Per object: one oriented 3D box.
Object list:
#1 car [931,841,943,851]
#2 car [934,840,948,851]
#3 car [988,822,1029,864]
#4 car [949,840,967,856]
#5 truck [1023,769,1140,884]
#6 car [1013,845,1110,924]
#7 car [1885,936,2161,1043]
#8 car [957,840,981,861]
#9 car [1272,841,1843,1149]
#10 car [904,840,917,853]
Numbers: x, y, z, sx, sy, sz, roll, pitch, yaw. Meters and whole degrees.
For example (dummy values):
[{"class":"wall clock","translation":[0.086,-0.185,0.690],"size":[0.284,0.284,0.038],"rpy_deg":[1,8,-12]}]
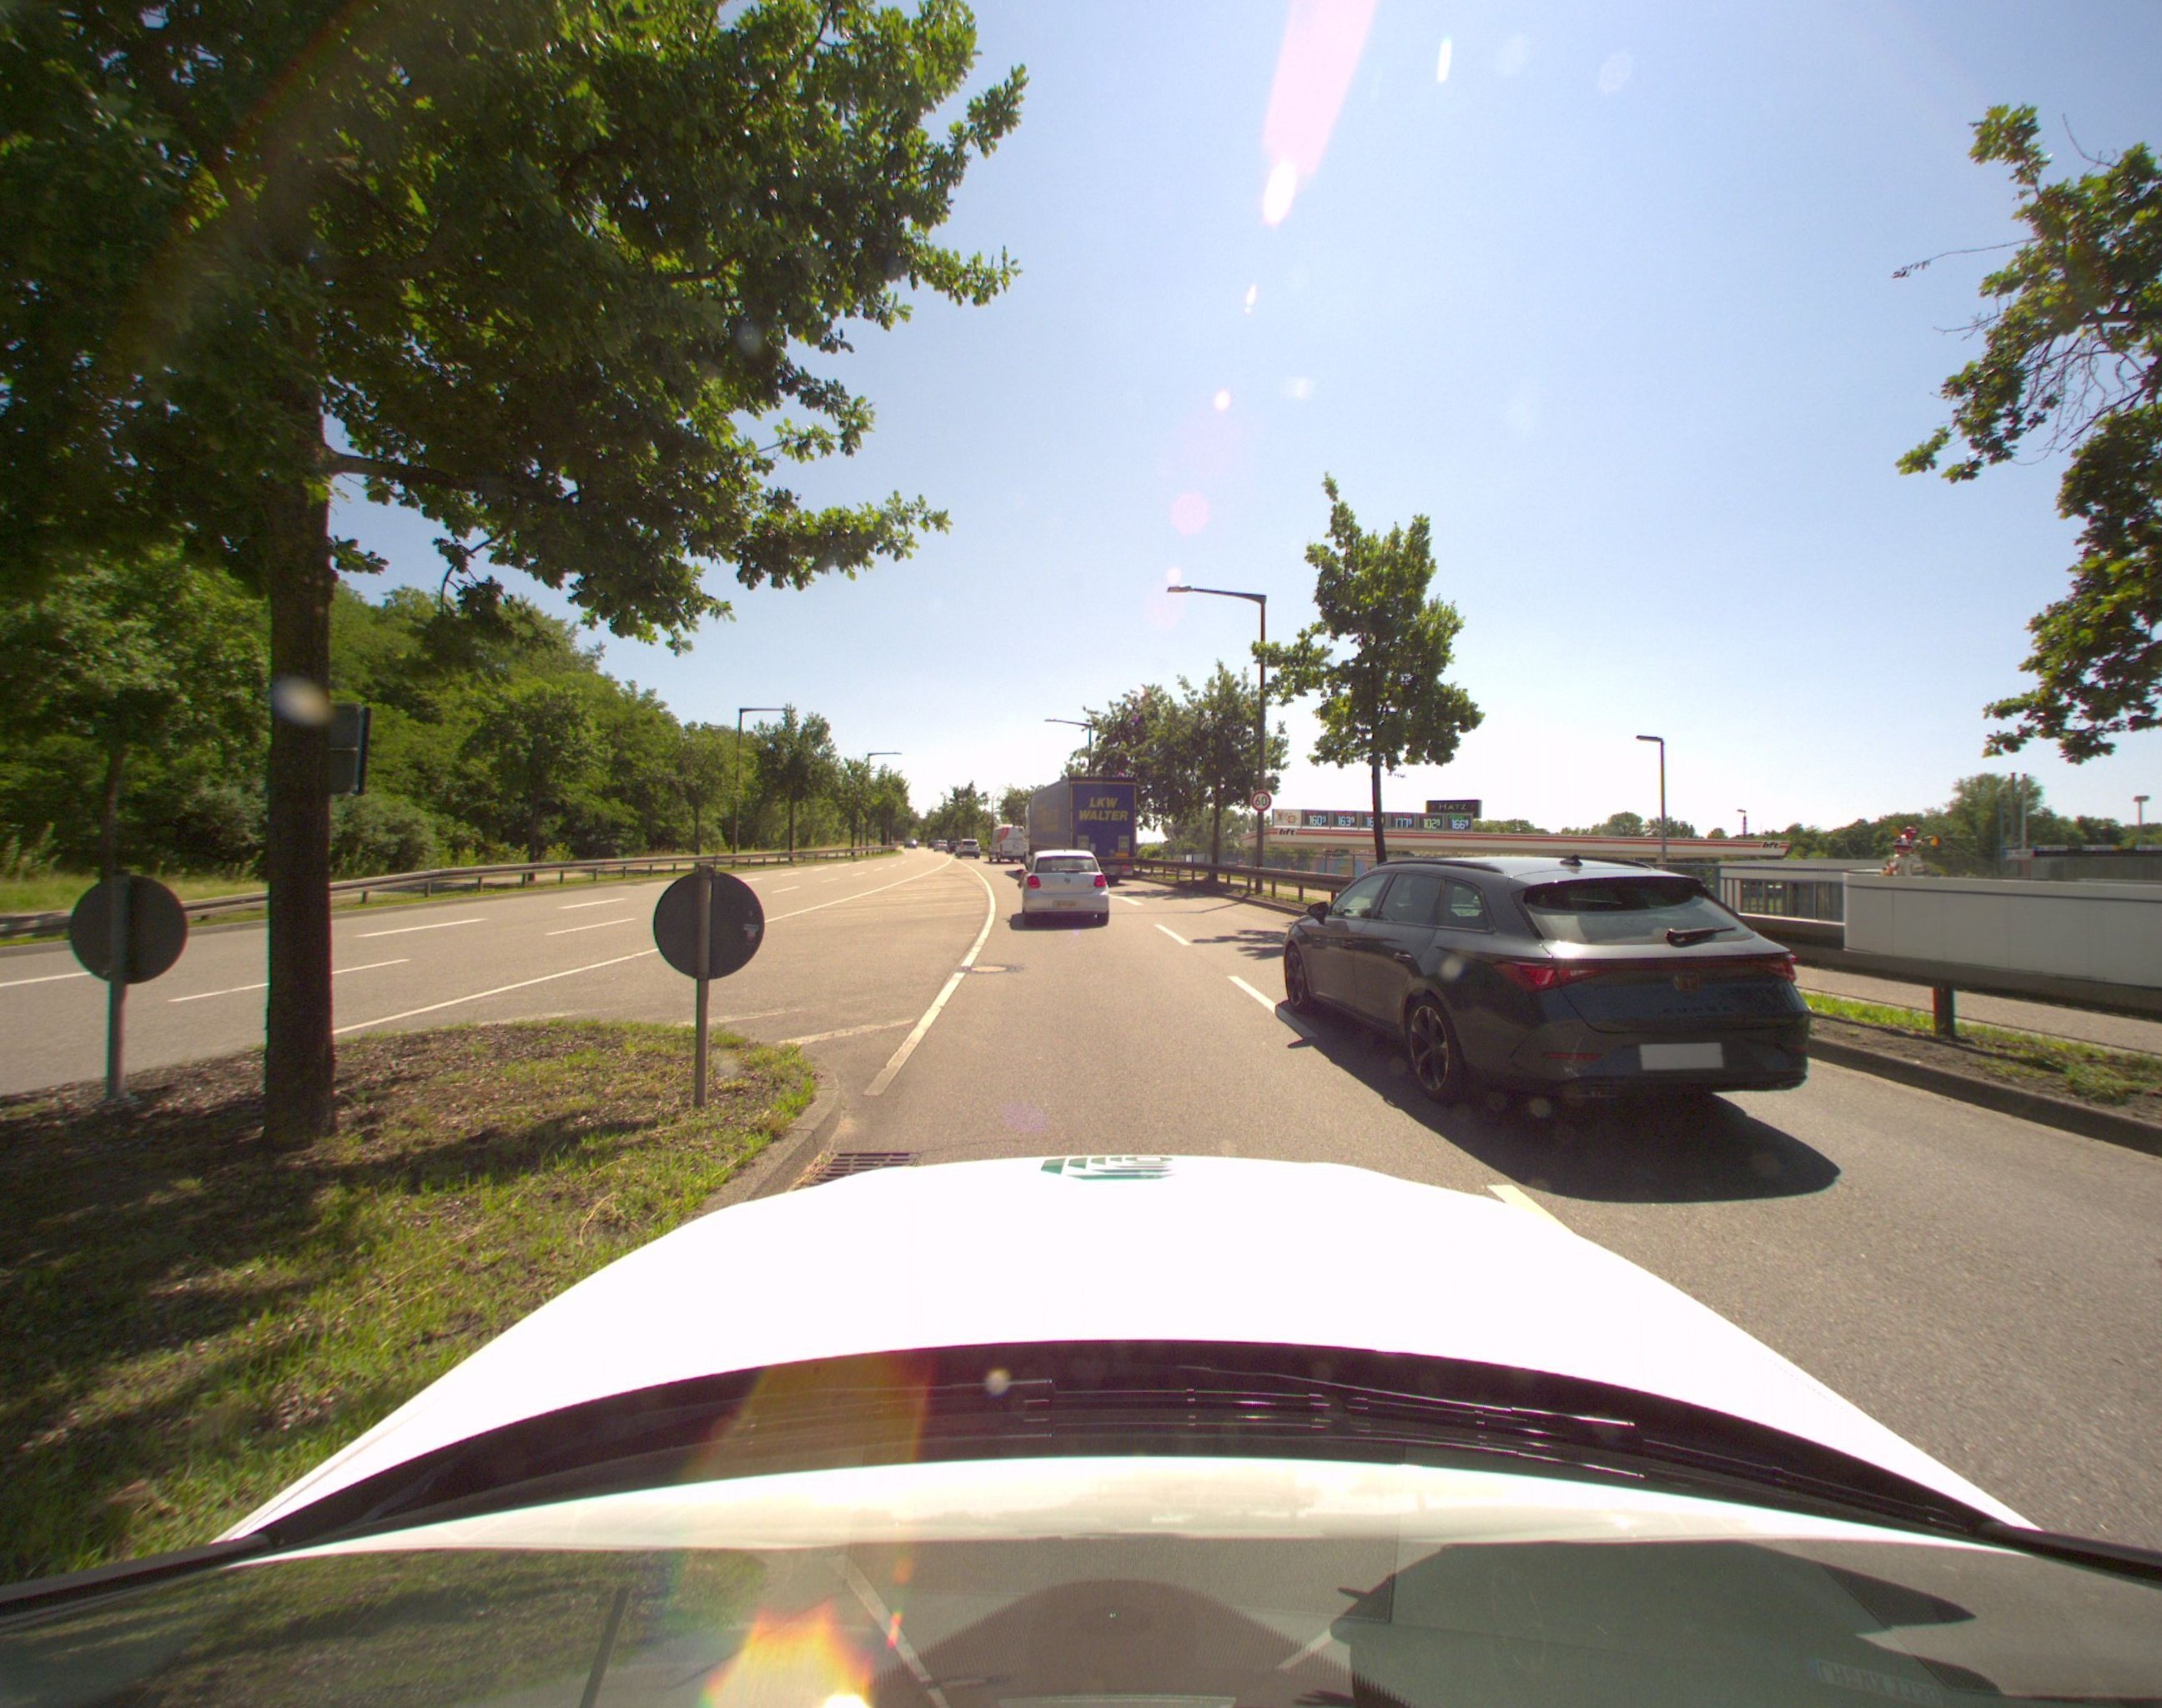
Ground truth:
[{"class":"car","translation":[-22.894,-1.194,129.240],"size":[1.663,1.465,3.571],"rpy_deg":[1,-1,-7]},{"class":"car","translation":[-18.088,-1.098,105.263],"size":[1.609,1.360,3.648],"rpy_deg":[1,0,-11]},{"class":"car","translation":[-5.458,-0.799,60.547],"size":[2.178,2.900,6.329],"rpy_deg":[1,1,-13]},{"class":"car","translation":[-13.892,-0.678,91.747],"size":[1.723,1.726,3.983],"rpy_deg":[1,-1,-12]},{"class":"truck","translation":[-0.524,-0.956,38.286],"size":[2.833,4.198,16.419],"rpy_deg":[1,0,-9]},{"class":"car","translation":[-0.493,0.604,16.873],"size":[1.645,1.439,3.527],"rpy_deg":[1,-1,-8]},{"class":"car","translation":[15.957,2.178,13.656],"size":[1.470,1.309,3.284],"rpy_deg":[1,-1,-33]},{"class":"car","translation":[-9.892,-0.272,71.771],"size":[1.904,1.718,4.207],"rpy_deg":[1,-1,-11]},{"class":"car","translation":[2.802,0.713,6.028],"size":[1.601,1.456,4.230],"rpy_deg":[1,-1,-3]},{"class":"car","translation":[-24.486,-1.072,116.843],"size":[1.679,1.671,3.743],"rpy_deg":[0,2,-9]}]
